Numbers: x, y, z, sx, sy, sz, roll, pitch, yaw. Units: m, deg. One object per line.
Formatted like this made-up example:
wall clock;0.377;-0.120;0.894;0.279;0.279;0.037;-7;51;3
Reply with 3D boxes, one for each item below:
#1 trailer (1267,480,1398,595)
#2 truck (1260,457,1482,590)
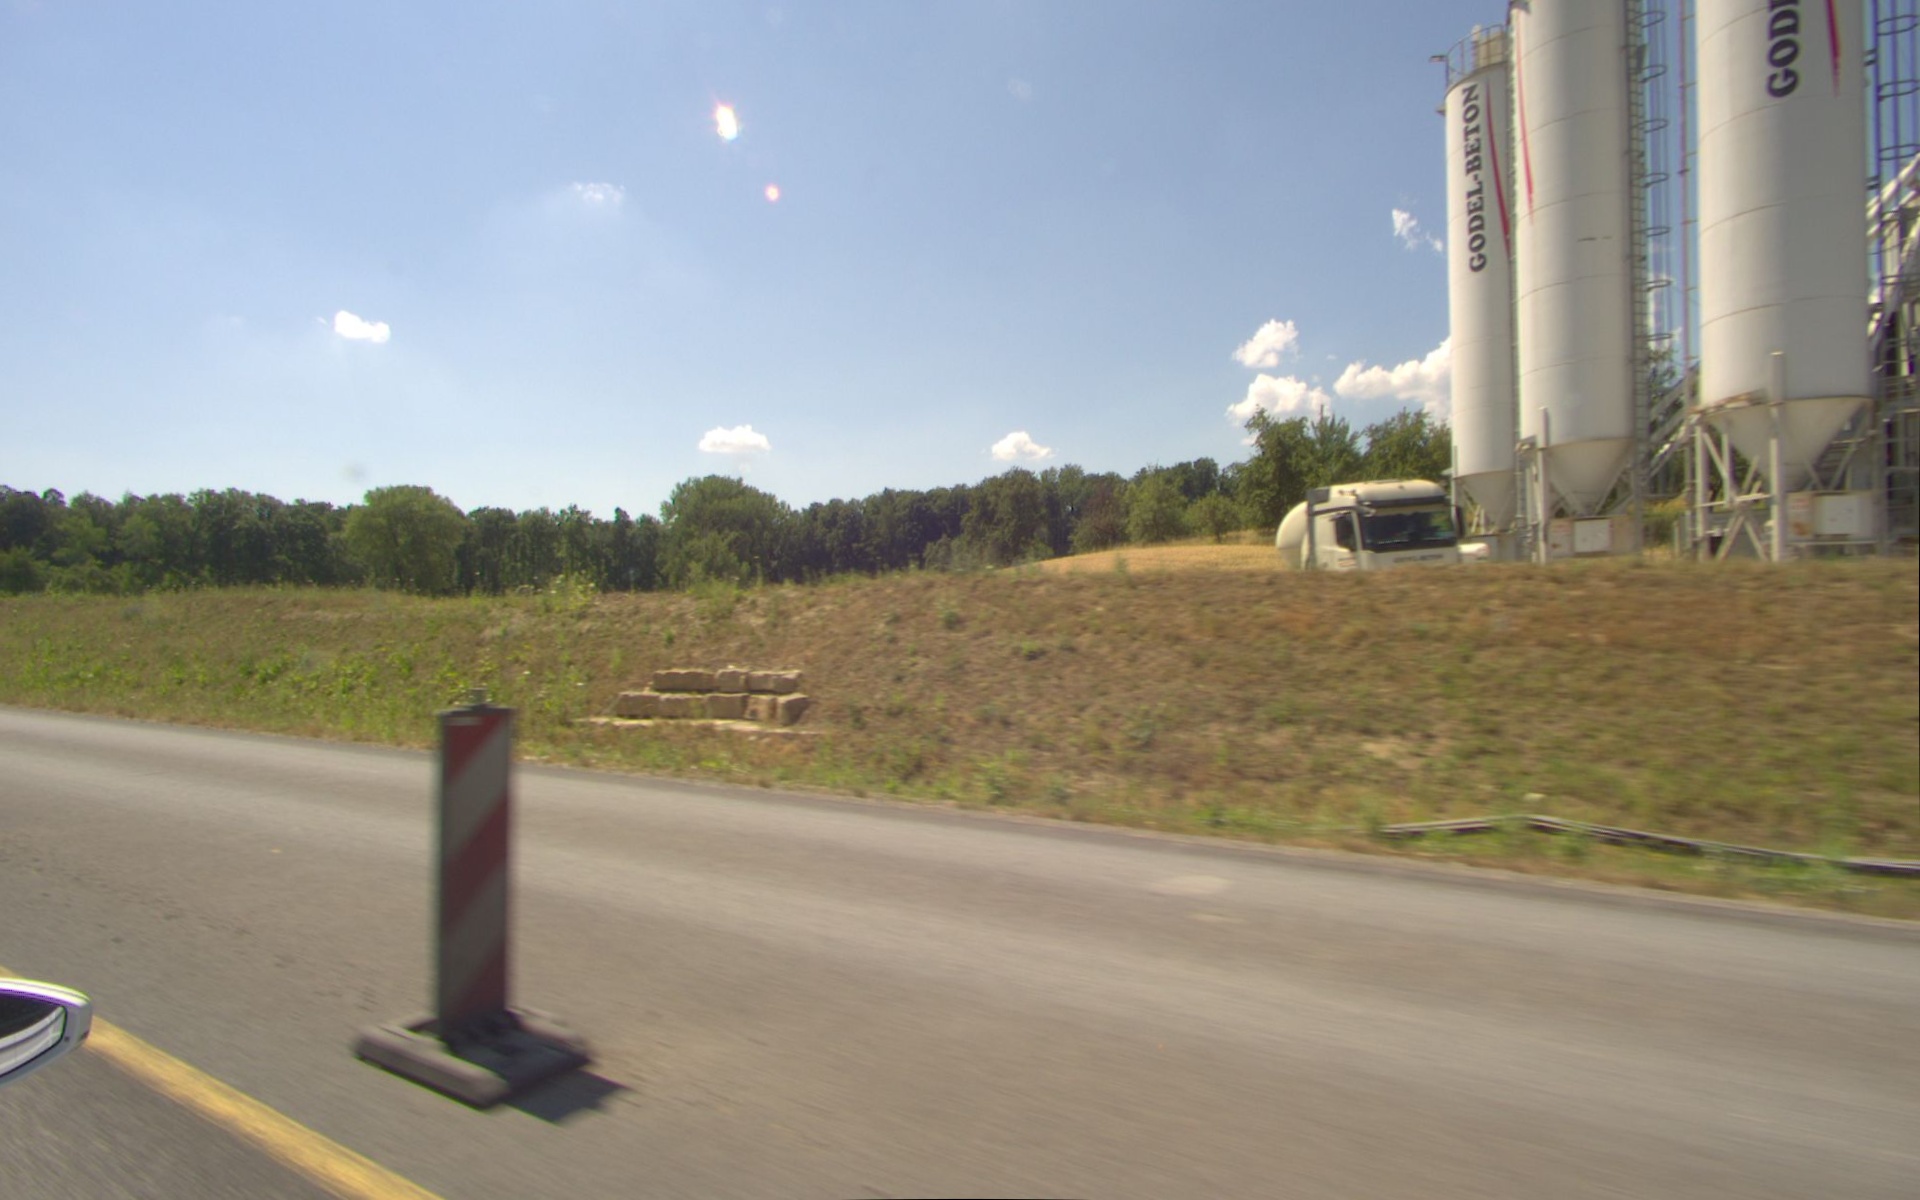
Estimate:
trailer;11.234;-1.595;29.585;2.426;2.640;8.888;-1;-1;28
truck;9.640;-1.671;24.172;2.849;2.576;5.310;0;-2;-4
